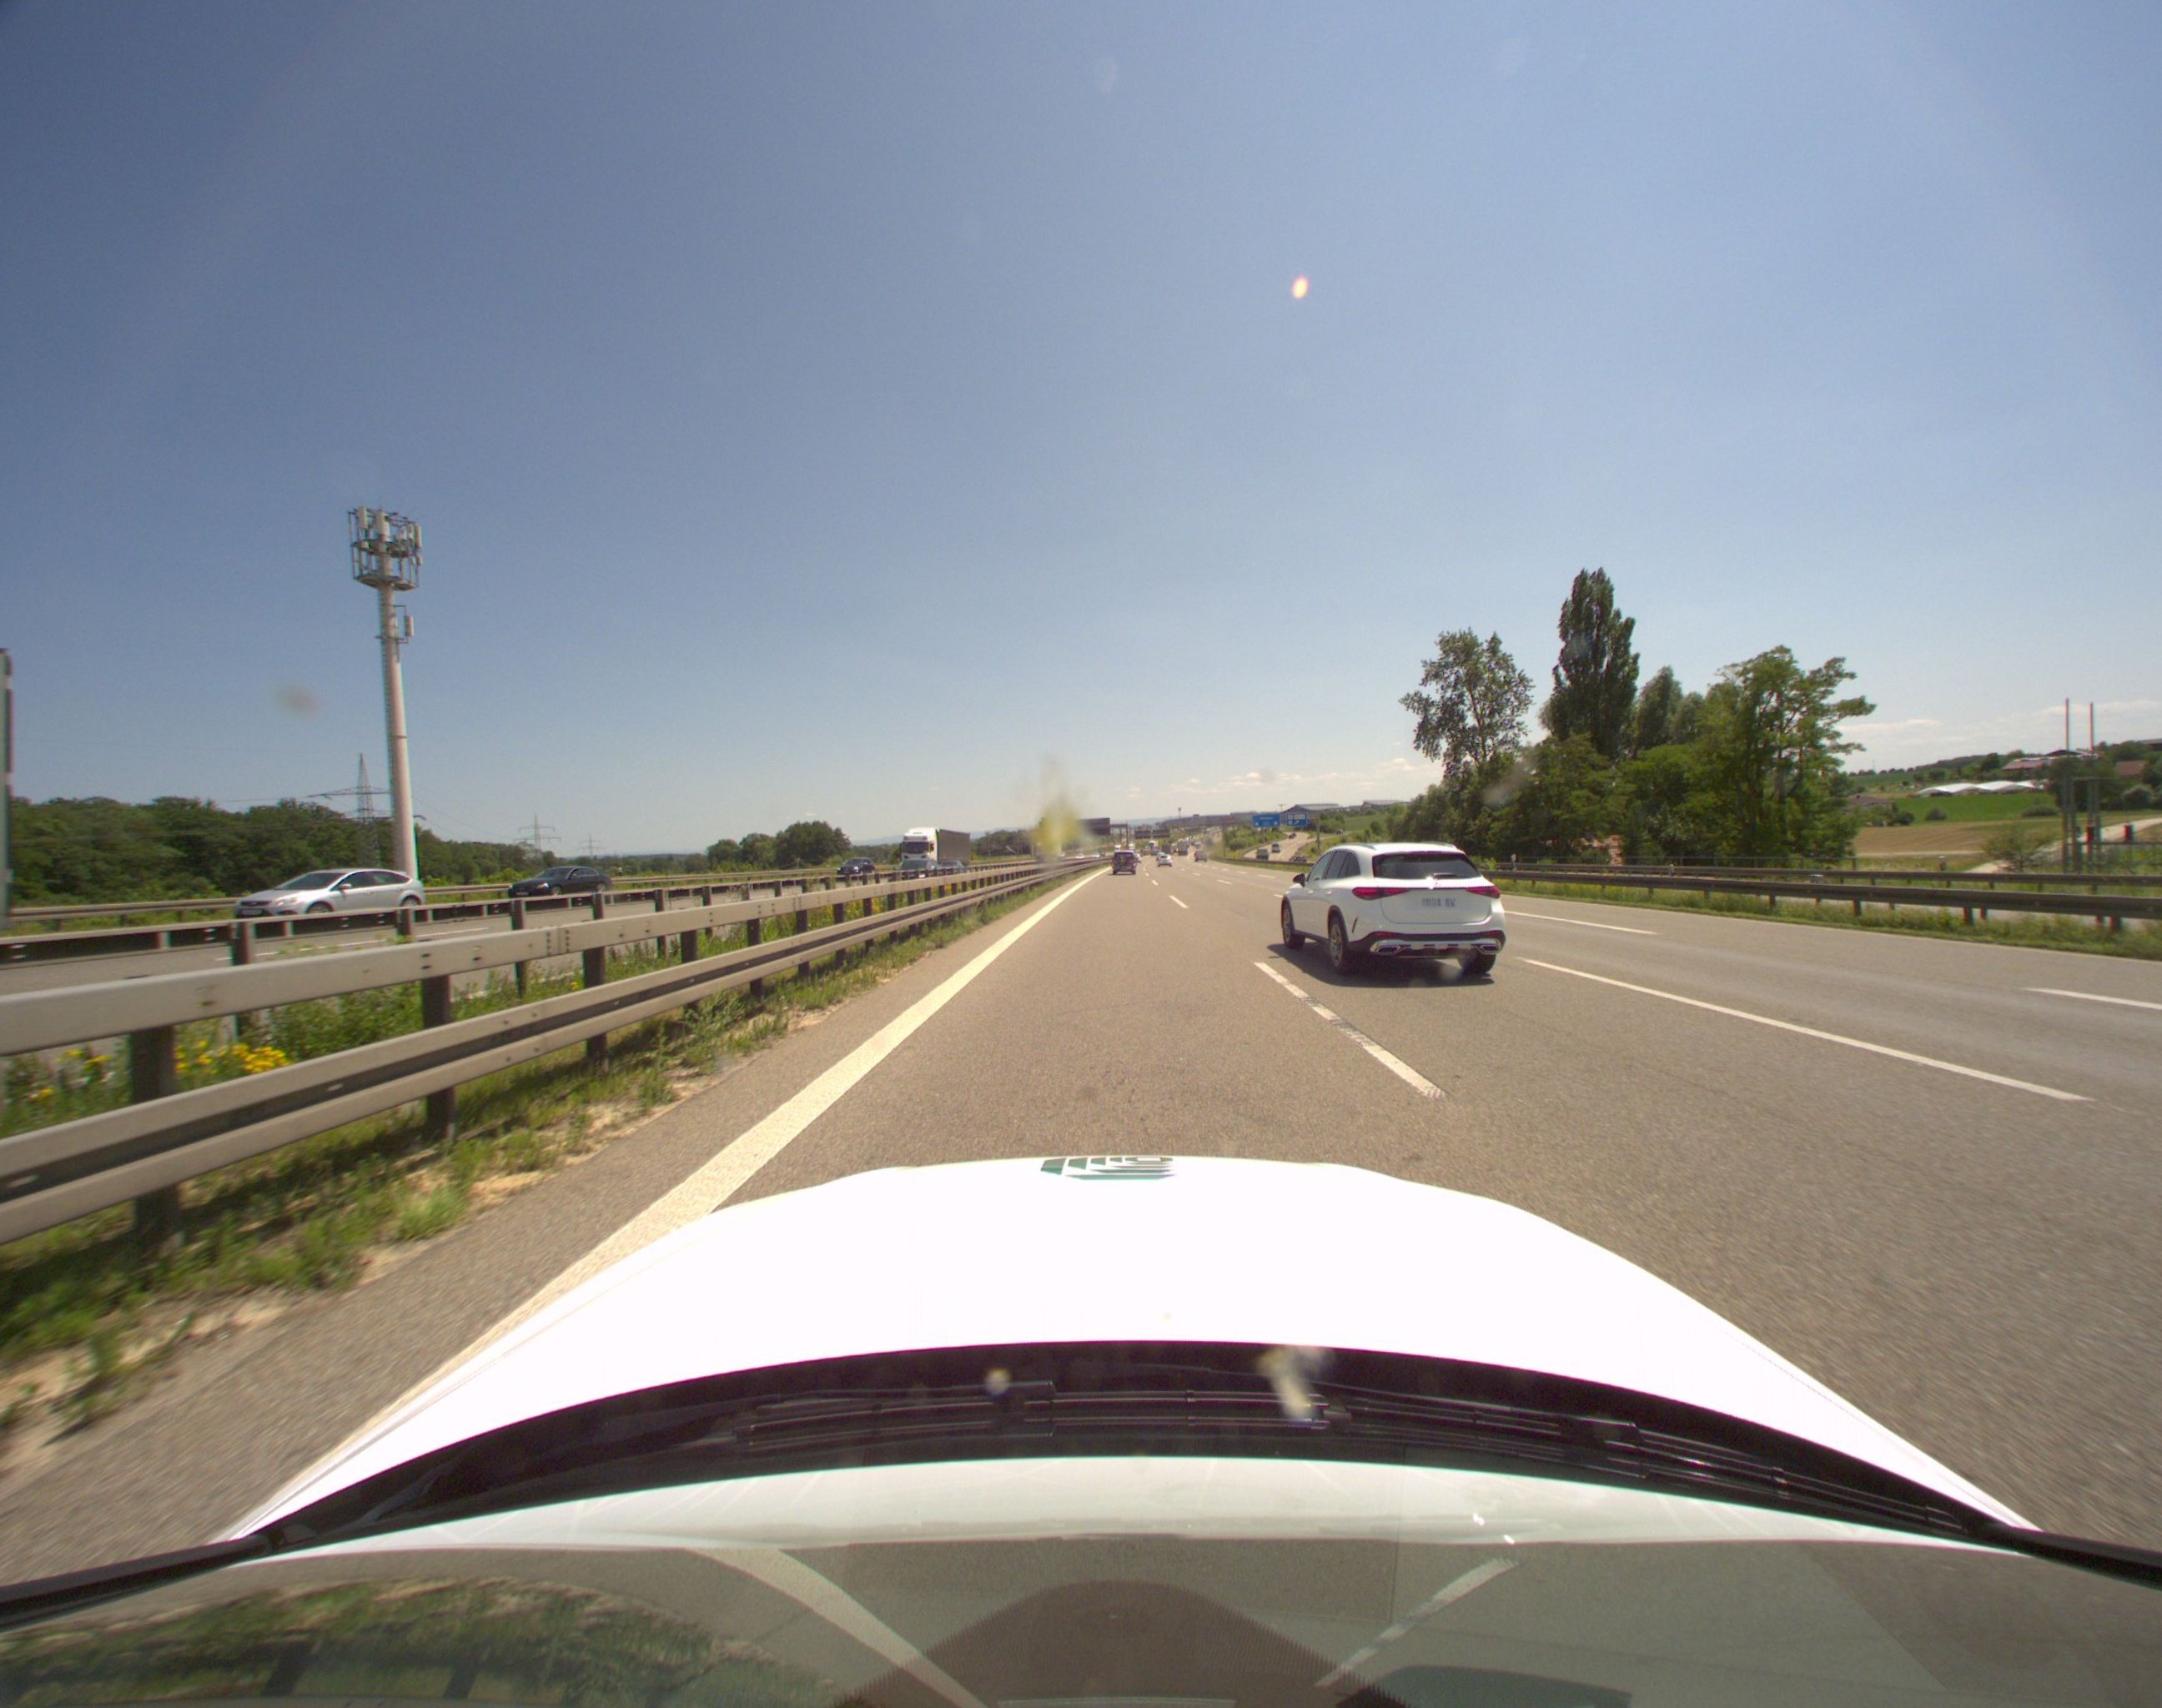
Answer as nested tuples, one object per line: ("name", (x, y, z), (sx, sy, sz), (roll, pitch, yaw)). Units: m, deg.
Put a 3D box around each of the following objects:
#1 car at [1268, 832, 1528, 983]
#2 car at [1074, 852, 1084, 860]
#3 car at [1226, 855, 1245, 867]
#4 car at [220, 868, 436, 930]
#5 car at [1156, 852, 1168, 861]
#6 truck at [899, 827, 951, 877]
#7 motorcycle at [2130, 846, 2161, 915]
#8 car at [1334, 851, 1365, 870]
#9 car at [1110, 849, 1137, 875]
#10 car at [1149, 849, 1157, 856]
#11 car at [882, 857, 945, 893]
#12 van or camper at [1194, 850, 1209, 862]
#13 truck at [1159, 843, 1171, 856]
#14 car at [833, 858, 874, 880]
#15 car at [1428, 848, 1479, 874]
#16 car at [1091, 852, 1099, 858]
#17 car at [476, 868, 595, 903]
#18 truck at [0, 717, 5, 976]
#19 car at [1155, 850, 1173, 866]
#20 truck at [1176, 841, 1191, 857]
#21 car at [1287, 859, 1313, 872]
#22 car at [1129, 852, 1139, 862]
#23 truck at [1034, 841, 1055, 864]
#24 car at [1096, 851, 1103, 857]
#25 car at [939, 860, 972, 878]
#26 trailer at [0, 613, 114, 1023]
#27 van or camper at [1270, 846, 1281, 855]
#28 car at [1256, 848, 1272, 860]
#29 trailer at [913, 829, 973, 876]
("car", (4.100, 0.614, 11.567), (1.891, 1.647, 5.001), (-1, 0, 2))
("car", (-0.367, 0.431, 171.481), (1.733, 1.489, 4.012), (-1, 0, 4))
("car", (21.491, 0.980, 113.417), (1.987, 1.690, 3.999), (-1, -1, 0))
("car", (-20.495, 1.169, 22.478), (1.744, 1.446, 4.442), (0, 0, 2))
("car", (15.397, 0.473, 155.408), (1.970, 1.473, 4.011), (-1, 0, 9))
("truck", (-13.408, -0.158, 70.438), (2.869, 4.117, 6.389), (0, 0, 3))
("motorcycle", (21.803, 0.524, 15.701), (0.757, 1.366, 1.871), (-1, -1, 3))
("car", (27.352, 0.680, 83.175), (1.931, 1.923, 4.181), (-1, -1, 2))
("car", (3.333, 0.641, 63.059), (1.918, 1.919, 4.954), (-1, 0, 4))
("car", (20.425, -0.430, 231.438), (2.175, 2.003, 4.006), (-1, 0, 5))
("car", (-7.794, 0.949, 38.382), (1.840, 1.597, 4.413), (0, 0, 3))
("van or camper", (20.373, 0.382, 137.513), (2.146, 2.014, 4.309), (-1, -1, 4))
("truck", (21.967, -1.115, 212.709), (2.690, 3.109, 10.669), (-1, 0, 4))
("car", (-17.865, 1.134, 64.134), (1.870, 1.613, 4.003), (-1, 0, 3))
("car", (24.281, 0.454, 53.246), (1.692, 1.575, 4.132), (-1, 0, 4))
("car", (3.634, 0.251, 204.933), (1.649, 1.403, 4.765), (-1, 0, 5))
("car", (-23.151, 1.305, 34.813), (1.824, 1.315, 4.666), (0, 0, 2))
("truck", (-17.556, -0.101, 5.511), (3.207, 3.785, 12.904), (-1, 0, 1))
("car", (10.156, 0.496, 99.508), (1.919, 1.919, 4.520), (-1, -1, 3))
("truck", (29.598, -1.481, 235.144), (4.017, 4.261, 11.784), (-1, 2, 8))
("car", (27.726, 1.403, 103.164), (1.989, 1.596, 3.996), (-1, 0, -2))
("car", (8.729, 0.475, 133.320), (1.568, 1.552, 3.969), (-1, 0, 5))
("truck", (-6.676, -0.258, 151.186), (3.021, 4.240, 6.693), (-1, 0, 5))
("car", (5.640, -0.029, 246.567), (1.838, 1.655, 4.917), (-1, 0, 5))
("car", (-9.806, 1.134, 64.025), (1.699, 1.360, 4.501), (0, 0, 3))
("trailer", (-13.118, -0.401, 4.334), (2.944, 4.372, 10.735), (-1, 0, 1))
("van or camper", (48.177, -0.838, 201.758), (2.511, 2.014, 4.476), (-1, -1, 13))
("car", (32.596, -0.020, 145.282), (1.987, 2.014, 3.999), (-1, -1, 0))
("trailer", (-12.959, -0.137, 77.929), (2.878, 4.113, 12.595), (0, 0, 3))
